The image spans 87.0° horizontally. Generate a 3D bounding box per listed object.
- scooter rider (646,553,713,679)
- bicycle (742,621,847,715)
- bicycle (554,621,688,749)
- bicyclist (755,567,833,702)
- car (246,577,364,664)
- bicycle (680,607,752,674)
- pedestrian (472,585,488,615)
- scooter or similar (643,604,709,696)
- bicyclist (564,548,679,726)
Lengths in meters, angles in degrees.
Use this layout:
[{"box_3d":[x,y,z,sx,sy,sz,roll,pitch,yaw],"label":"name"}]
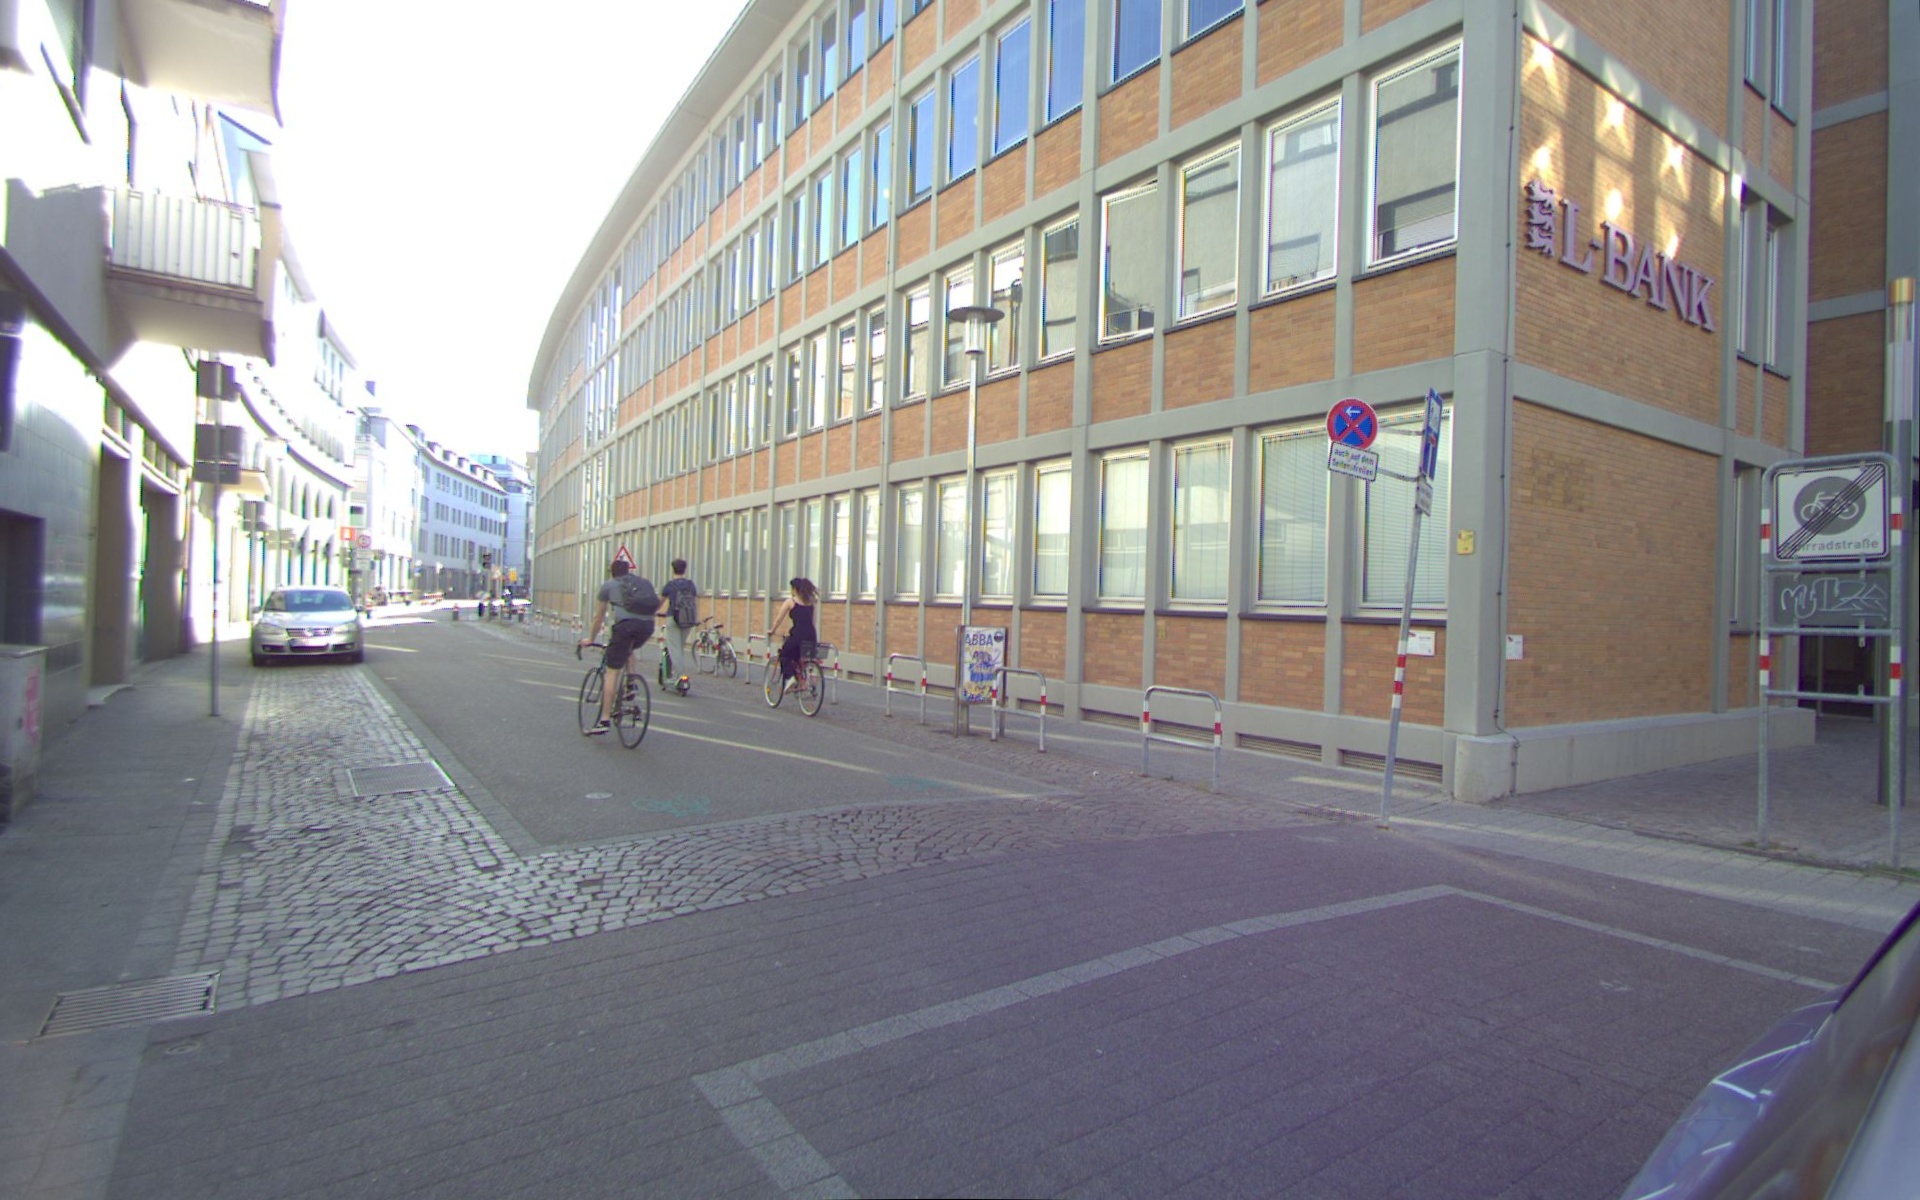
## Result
[{"box_3d":[-4.004,0.216,14.442,0.637,1.748,0.701,2,1,-41],"label":"scooter rider"},{"box_3d":[-2.175,0.846,13.084,0.580,1.065,1.801,4,-1,-34],"label":"bicycle"},{"box_3d":[-3.292,0.763,9.723,0.564,1.064,1.833,-1,1,-41],"label":"bicycle"},{"box_3d":[-2.162,0.437,13.135,0.608,1.688,0.824,5,-2,-34],"label":"bicyclist"},{"box_3d":[-12.575,0.307,19.463,1.737,1.488,3.815,-1,1,-33],"label":"car"},{"box_3d":[-4.542,0.729,18.714,0.626,1.130,1.931,2,0,-35],"label":"bicycle"},{"box_3d":[-24.300,-0.003,51.265,0.646,1.459,0.596,2,0,-32],"label":"pedestrian"},{"box_3d":[-4.054,0.693,14.391,0.331,1.201,1.278,5,-1,-40],"label":"scooter or similar"},{"box_3d":[-3.224,0.322,9.603,0.638,1.578,1.108,2,0,-41],"label":"bicyclist"}]
